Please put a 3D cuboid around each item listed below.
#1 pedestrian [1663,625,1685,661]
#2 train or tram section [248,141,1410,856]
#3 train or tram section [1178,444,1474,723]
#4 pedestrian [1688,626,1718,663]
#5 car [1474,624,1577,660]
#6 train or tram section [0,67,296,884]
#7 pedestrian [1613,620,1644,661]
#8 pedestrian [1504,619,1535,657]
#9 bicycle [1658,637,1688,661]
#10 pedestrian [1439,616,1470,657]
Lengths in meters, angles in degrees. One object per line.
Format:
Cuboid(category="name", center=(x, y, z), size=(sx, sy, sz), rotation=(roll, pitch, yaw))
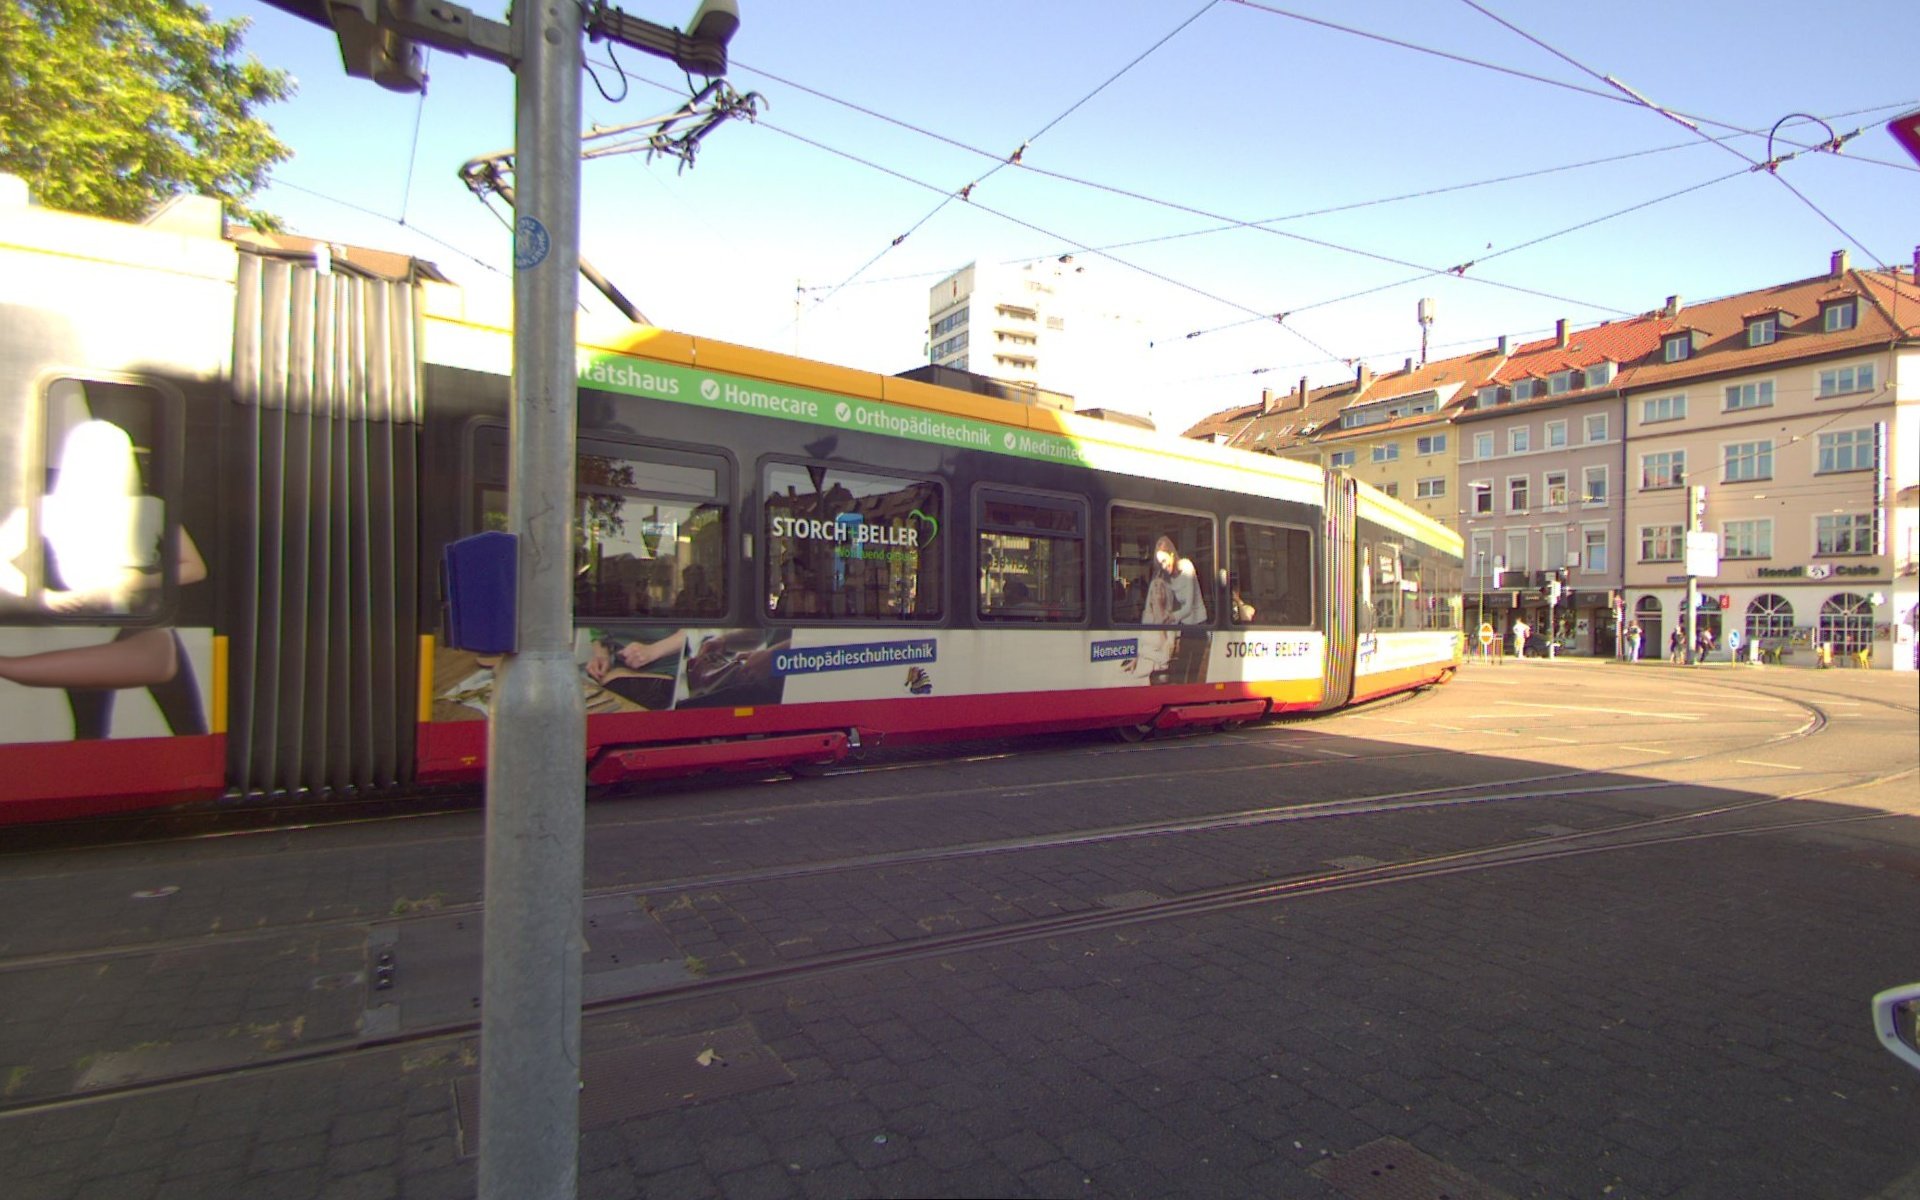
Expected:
Cuboid(category="pedestrian", center=(34.122, 2.055, 47.991), size=(0.743, 1.692, 0.579), rotation=(2, 0, -30))
Cuboid(category="train or tram section", center=(0.356, -0.409, 10.680), size=(12.717, 3.864, 2.907), rotation=(2, -1, -40))
Cuboid(category="train or tram section", center=(7.850, -0.105, 19.799), size=(2.891, 3.864, 12.090), rotation=(0, -1, 33))
Cuboid(category="pedestrian", center=(33.301, 2.004, 45.035), size=(0.816, 1.598, 0.728), rotation=(2, 0, 14))
Cuboid(category="car", center=(30.812, 2.278, 54.849), size=(2.277, 1.734, 4.350), rotation=(2, 0, -27))
Cuboid(category="train or tram section", center=(-9.754, -0.697, 2.964), size=(12.918, 3.864, 2.914), rotation=(1, -1, -34))
Cuboid(category="pedestrian", center=(26.517, 1.592, 39.823), size=(0.817, 1.598, 0.552), rotation=(2, 0, -2))
Cuboid(category="pedestrian", center=(24.523, 1.661, 44.023), size=(0.821, 1.598, 0.847), rotation=(2, 0, -20))
Cuboid(category="bicycle", center=(34.048, 2.353, 47.951), size=(1.479, 1.091, 0.570), rotation=(2, 0, -30))
Cuboid(category="pedestrian", center=(19.749, 1.438, 40.135), size=(0.867, 1.598, 0.665), rotation=(2, 0, -2))
